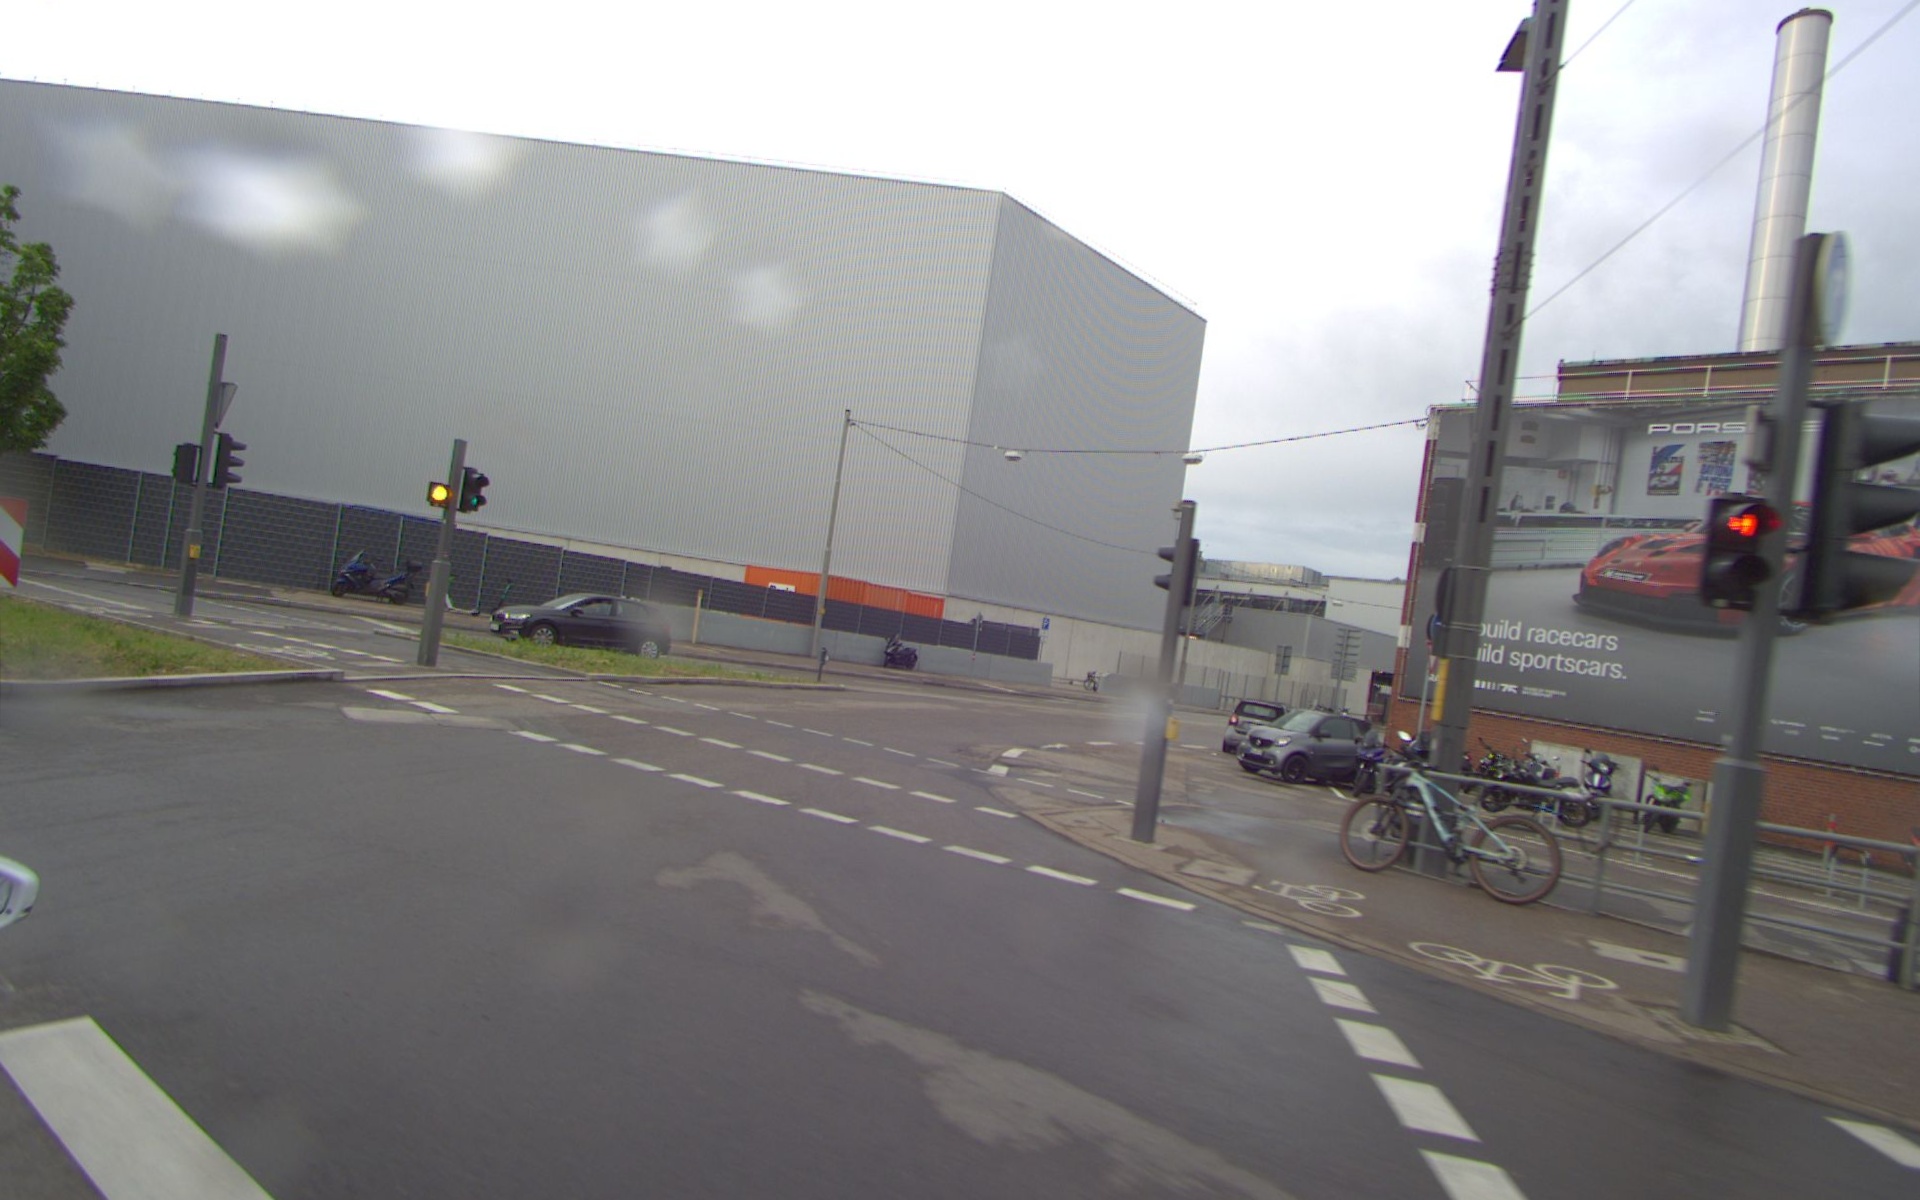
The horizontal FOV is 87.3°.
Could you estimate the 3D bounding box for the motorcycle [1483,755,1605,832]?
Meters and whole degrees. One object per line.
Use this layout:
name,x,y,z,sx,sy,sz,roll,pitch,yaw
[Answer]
motorcycle,10.948,3.604,18.892,1.841,1.123,0.542,3,-4,43

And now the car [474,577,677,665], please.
car,-8.903,0.520,23.487,3.979,1.441,1.700,11,-3,-44

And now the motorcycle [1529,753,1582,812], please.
motorcycle,13.317,4.073,22.475,1.639,1.193,0.538,9,-4,-44

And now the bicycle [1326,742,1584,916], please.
bicycle,4.394,2.002,9.109,0.418,1.142,2.054,8,-3,-36

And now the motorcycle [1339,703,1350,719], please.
motorcycle,31.022,8.942,81.181,0.556,1.145,1.927,7,-2,26

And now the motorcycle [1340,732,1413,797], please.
motorcycle,8.186,3.248,19.750,1.710,1.159,0.490,9,-4,-38

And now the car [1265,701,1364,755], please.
car,11.466,4.147,32.403,1.547,1.459,4.090,4,-4,41

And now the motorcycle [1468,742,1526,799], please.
motorcycle,12.546,3.977,23.485,1.639,1.193,0.667,9,-4,-44

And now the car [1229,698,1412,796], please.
car,7.624,3.098,21.324,3.201,1.520,1.619,9,-2,-18

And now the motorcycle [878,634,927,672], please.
motorcycle,-2.517,2.318,44.046,0.647,1.392,2.092,7,-3,43

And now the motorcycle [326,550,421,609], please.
motorcycle,-16.627,-0.563,28.579,0.647,1.325,2.092,7,-3,43

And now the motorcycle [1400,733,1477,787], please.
motorcycle,12.193,4.074,25.666,0.540,1.123,1.632,8,-4,-39

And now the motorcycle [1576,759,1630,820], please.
motorcycle,13.963,4.109,21.832,1.703,1.193,0.538,9,-4,-44

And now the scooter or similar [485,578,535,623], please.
scooter or similar,-14.124,0.022,31.583,1.259,1.213,0.421,10,-2,-33

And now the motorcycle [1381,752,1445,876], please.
motorcycle,5.180,2.372,11.445,0.480,1.158,2.095,5,-4,27

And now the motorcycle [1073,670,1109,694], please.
motorcycle,7.603,4.750,58.387,1.898,1.087,0.625,7,-1,38

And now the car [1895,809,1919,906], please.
car,16.078,4.212,14.841,1.538,1.505,4.006,7,-3,15

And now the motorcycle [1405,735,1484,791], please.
motorcycle,11.849,3.973,24.653,0.540,1.132,1.586,8,-3,-39

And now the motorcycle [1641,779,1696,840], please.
motorcycle,14.551,4.283,20.639,1.798,1.132,0.471,9,-4,-42

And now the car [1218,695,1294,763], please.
car,8.212,3.522,27.800,1.526,1.509,2.754,9,-2,23

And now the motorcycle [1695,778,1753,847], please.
motorcycle,15.480,4.278,20.366,1.797,1.253,0.538,9,-1,-44

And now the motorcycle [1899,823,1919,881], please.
motorcycle,18.130,4.747,18.599,0.531,0.984,1.618,5,-3,22

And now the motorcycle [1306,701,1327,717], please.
motorcycle,27.100,8.288,76.413,1.916,1.087,0.559,10,-2,-43

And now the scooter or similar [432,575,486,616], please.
scooter or similar,-15.098,-0.121,30.325,1.251,1.040,0.385,9,-1,-14
